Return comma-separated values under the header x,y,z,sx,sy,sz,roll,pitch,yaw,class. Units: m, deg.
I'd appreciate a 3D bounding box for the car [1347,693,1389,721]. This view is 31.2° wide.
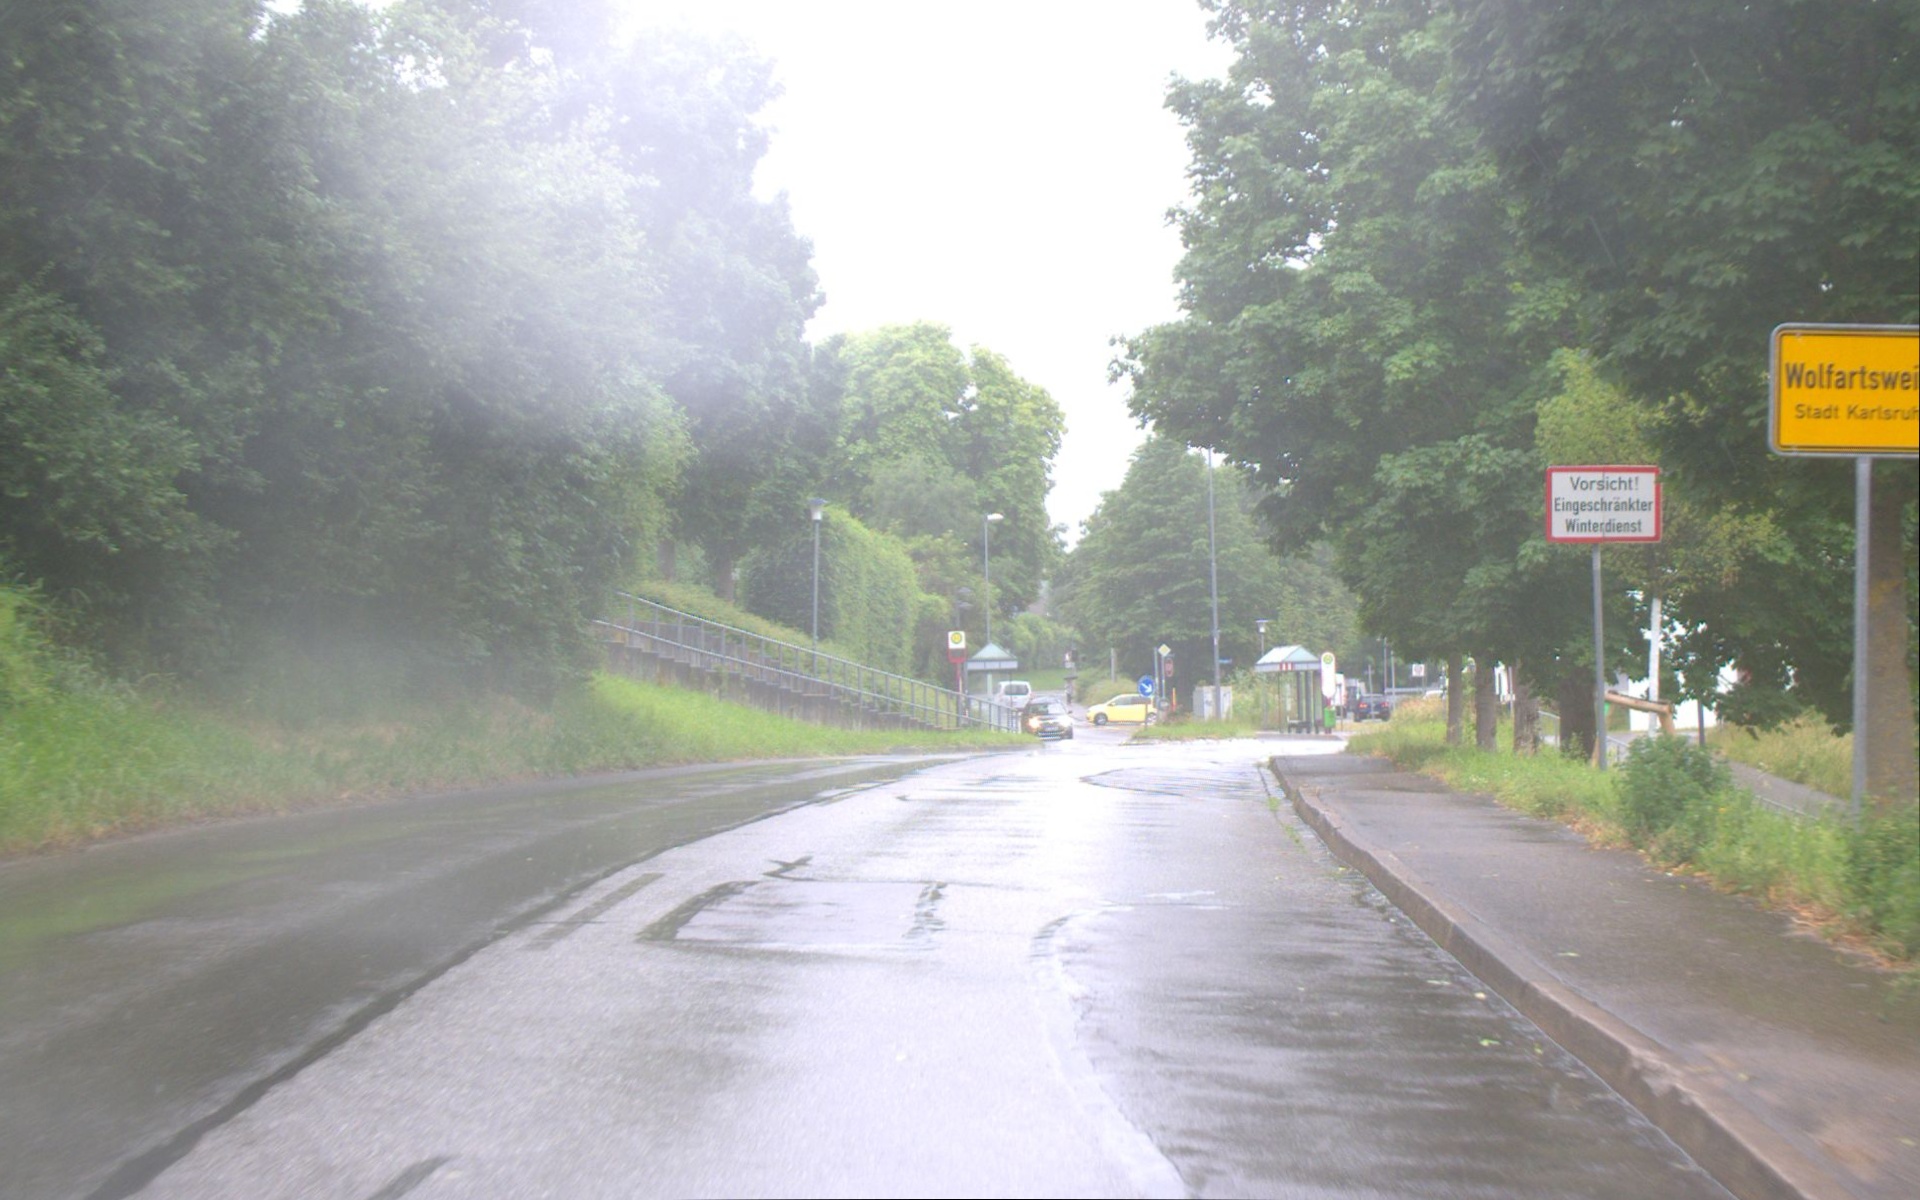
x,y,z,sx,sy,sz,roll,pitch,yaw,class
22.019,5.758,185.433,1.688,1.433,3.612,-1,0,-2,car

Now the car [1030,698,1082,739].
x,y,z,sx,sy,sz,roll,pitch,yaw,class
3.692,4.614,133.195,1.760,1.498,4.141,-2,-2,-1,car
